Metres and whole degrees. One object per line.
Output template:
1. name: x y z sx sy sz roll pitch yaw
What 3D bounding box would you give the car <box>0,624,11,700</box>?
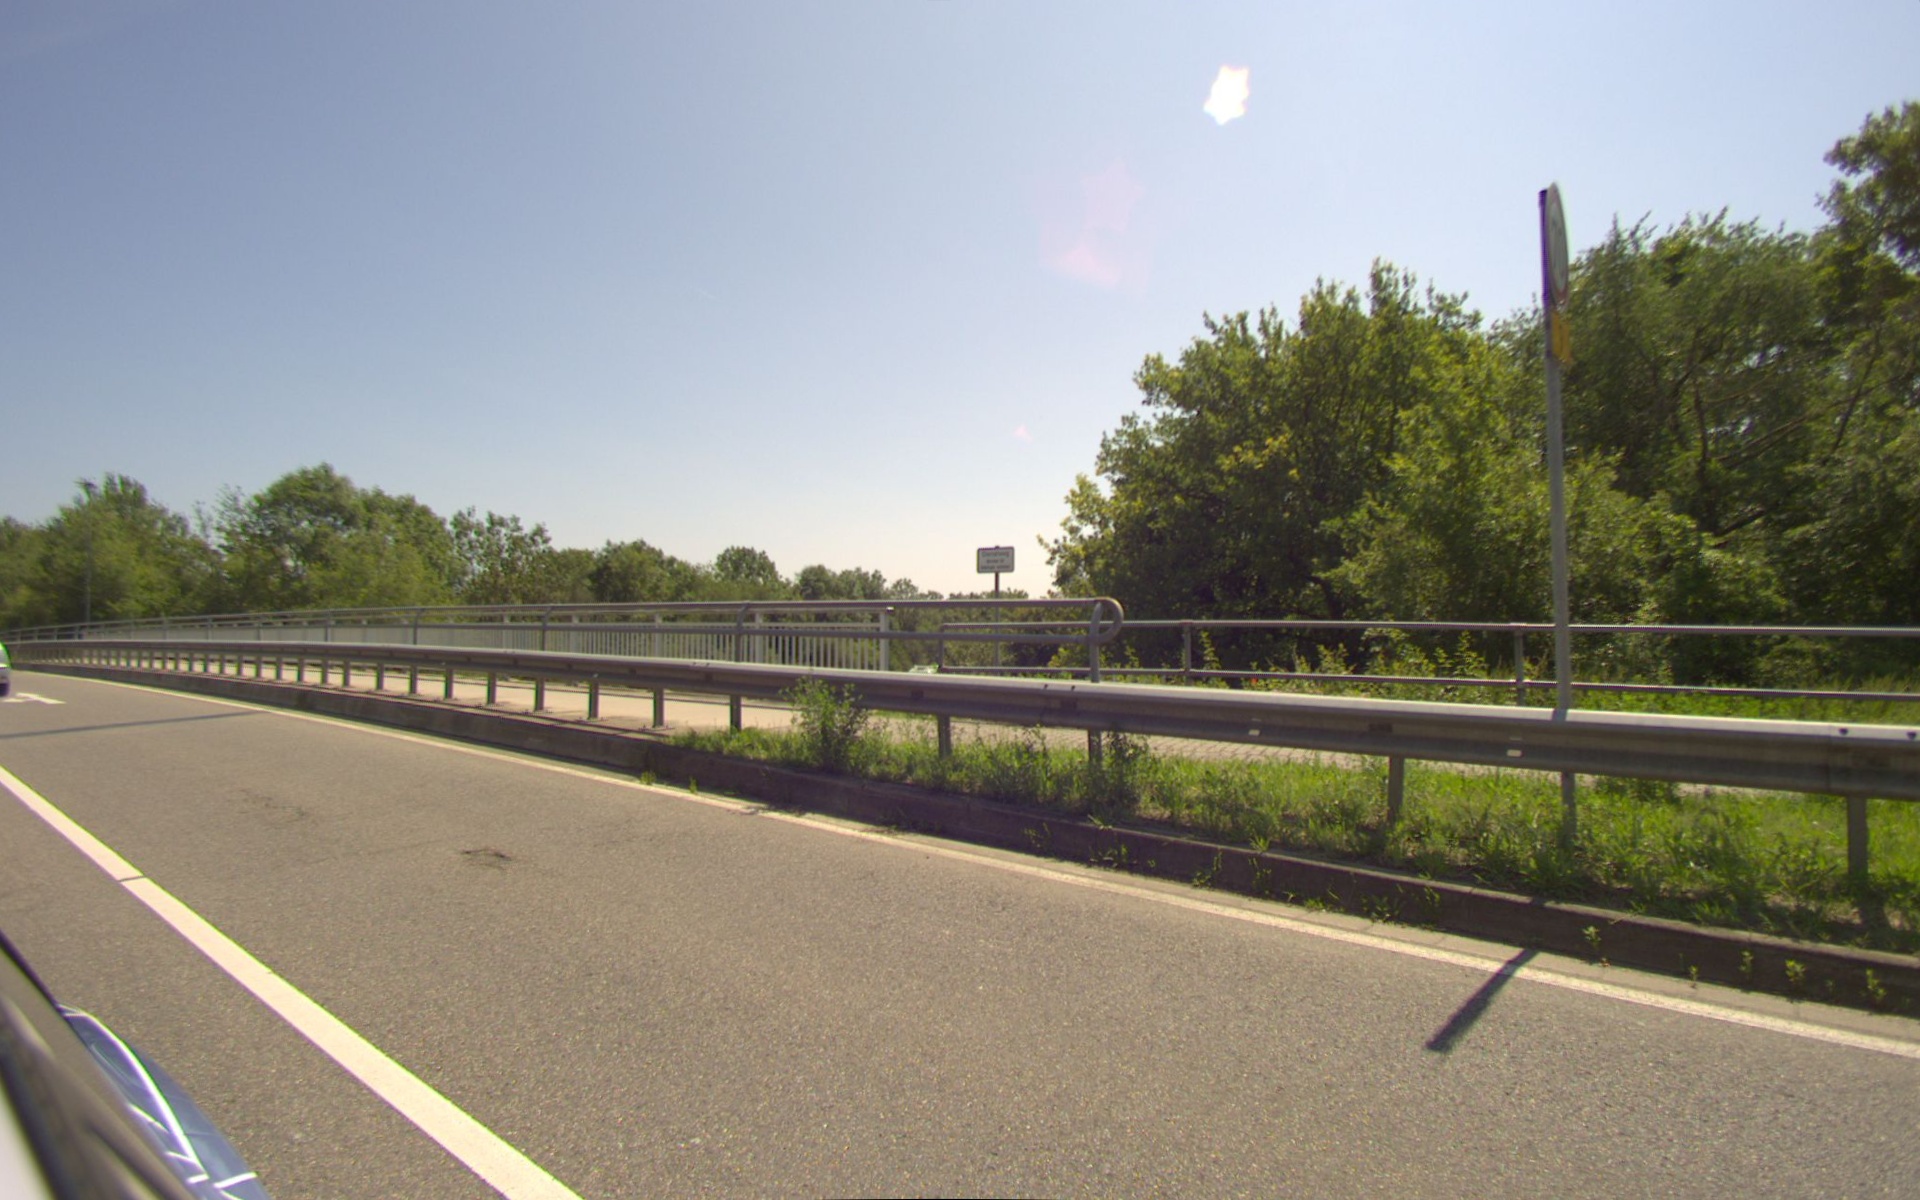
1. car: -20.312 1.225 20.143 3.705 1.468 1.777 -1 -1 42
